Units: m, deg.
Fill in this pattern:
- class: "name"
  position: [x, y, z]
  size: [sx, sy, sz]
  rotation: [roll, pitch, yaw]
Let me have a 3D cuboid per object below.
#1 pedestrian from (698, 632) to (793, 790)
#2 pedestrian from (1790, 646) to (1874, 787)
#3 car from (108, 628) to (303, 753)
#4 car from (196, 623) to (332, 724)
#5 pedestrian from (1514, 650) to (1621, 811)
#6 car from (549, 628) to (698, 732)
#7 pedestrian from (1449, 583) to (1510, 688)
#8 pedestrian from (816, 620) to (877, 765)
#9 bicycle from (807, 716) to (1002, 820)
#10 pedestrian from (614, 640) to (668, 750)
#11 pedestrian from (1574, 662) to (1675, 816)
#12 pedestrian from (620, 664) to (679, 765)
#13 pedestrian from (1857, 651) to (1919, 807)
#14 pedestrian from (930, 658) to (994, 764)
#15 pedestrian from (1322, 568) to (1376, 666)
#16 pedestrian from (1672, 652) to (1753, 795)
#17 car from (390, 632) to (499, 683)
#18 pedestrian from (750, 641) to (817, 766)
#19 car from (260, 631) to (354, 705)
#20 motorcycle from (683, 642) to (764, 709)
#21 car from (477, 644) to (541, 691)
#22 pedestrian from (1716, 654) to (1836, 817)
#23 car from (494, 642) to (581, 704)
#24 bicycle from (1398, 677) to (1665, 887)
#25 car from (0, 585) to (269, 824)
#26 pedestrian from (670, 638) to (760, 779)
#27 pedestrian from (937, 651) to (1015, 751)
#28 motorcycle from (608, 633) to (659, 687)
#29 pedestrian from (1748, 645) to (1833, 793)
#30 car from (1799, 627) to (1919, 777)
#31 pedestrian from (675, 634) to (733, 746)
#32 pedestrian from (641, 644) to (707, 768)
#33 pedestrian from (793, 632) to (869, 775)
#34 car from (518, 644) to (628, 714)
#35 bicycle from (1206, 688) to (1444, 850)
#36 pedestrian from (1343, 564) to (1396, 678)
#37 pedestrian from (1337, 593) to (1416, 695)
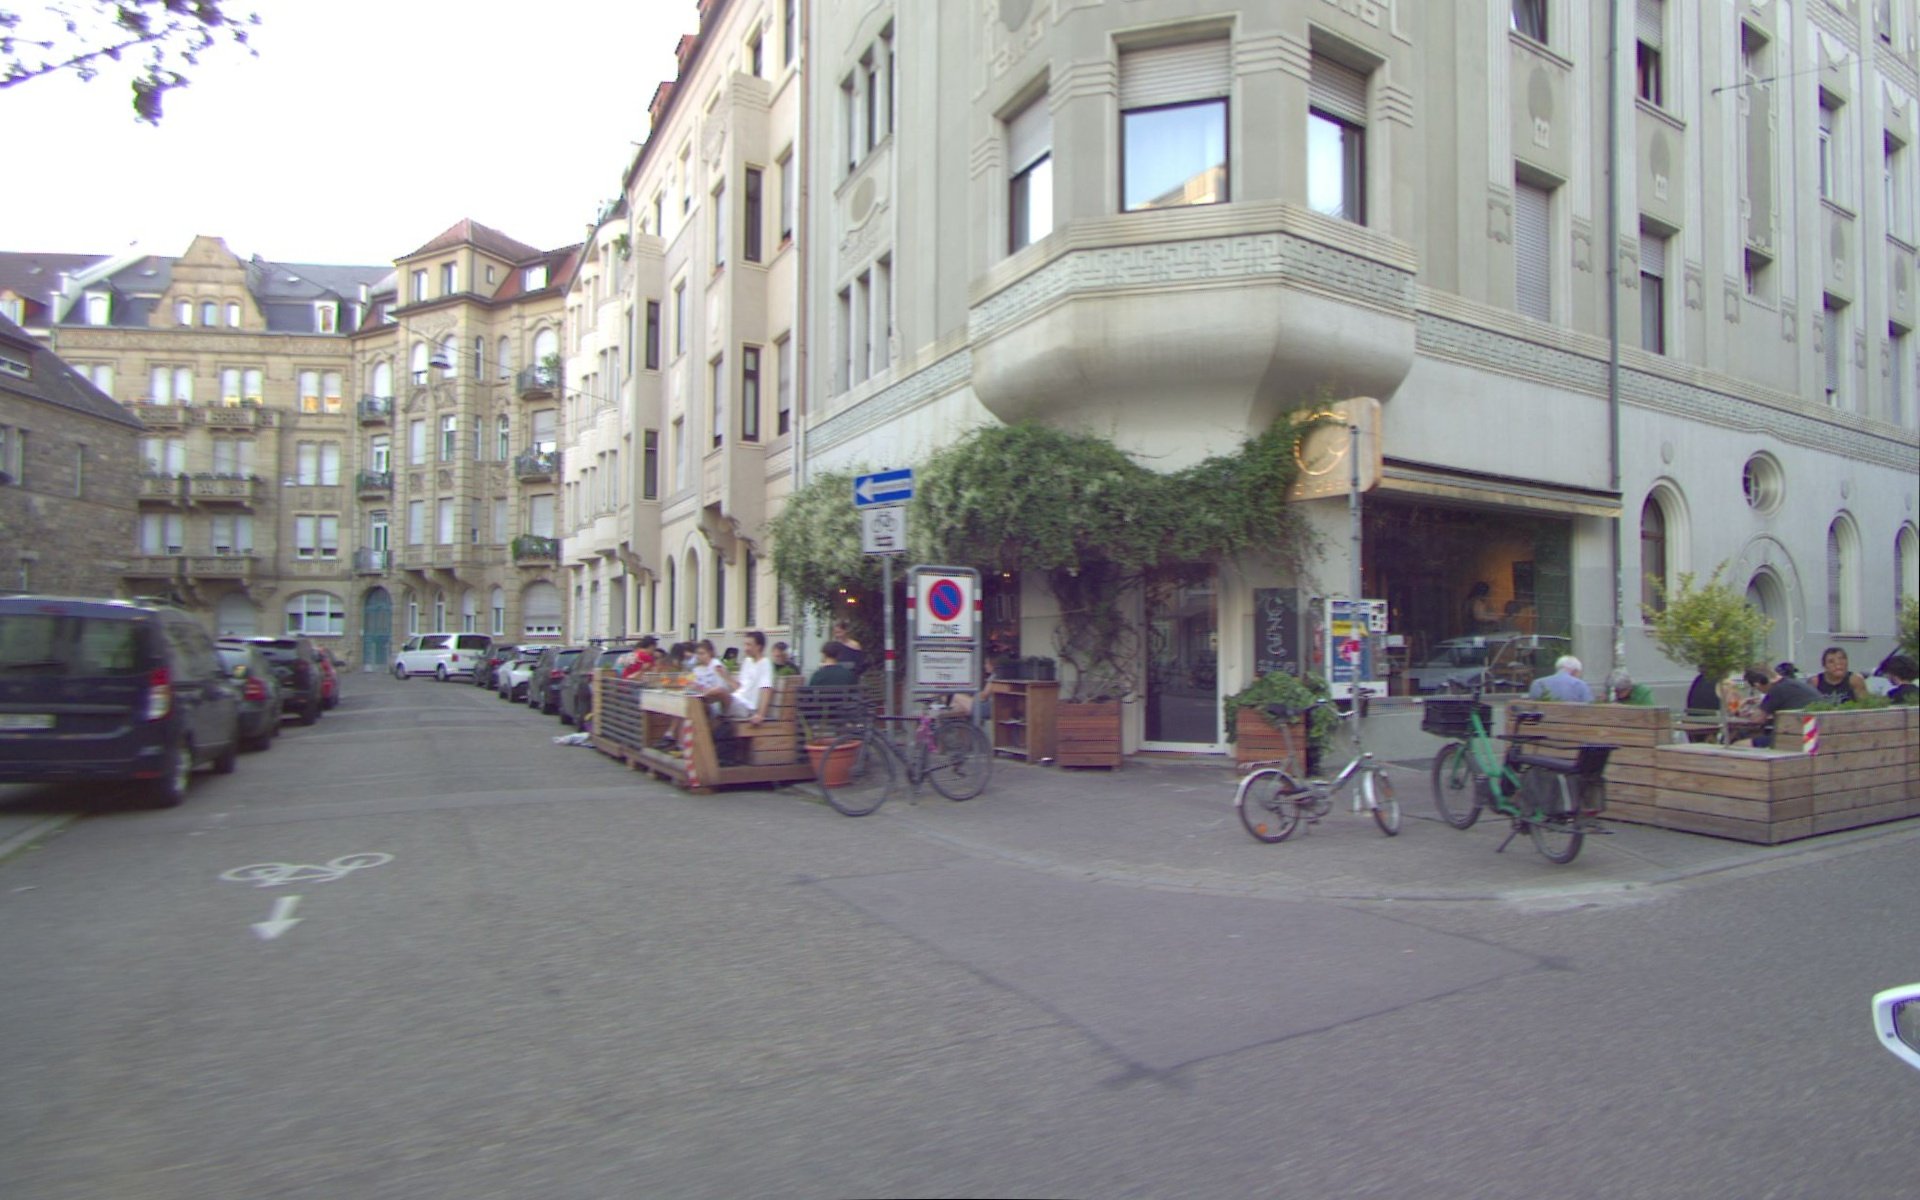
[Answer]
- class: "pedestrian"
  position: [-2.235, 1.122, 10.470]
  size: [0.775, 1.560, 0.698]
  rotation: [2, -3, -31]
- class: "pedestrian"
  position: [8.884, 1.163, 10.236]
  size: [0.534, 1.368, 0.514]
  rotation: [2, -2, -33]
- class: "car"
  position: [-10.667, 1.186, 14.496]
  size: [1.701, 1.519, 4.180]
  rotation: [2, -3, -30]
- class: "car"
  position: [-12.975, 1.305, 18.942]
  size: [1.701, 1.674, 4.180]
  rotation: [2, -3, -30]
- class: "pedestrian"
  position: [5.353, 1.119, 8.855]
  size: [0.696, 1.342, 0.535]
  rotation: [2, -2, -29]
- class: "car"
  position: [-6.163, 1.392, 18.110]
  size: [1.720, 1.638, 4.119]
  rotation: [5, -4, -29]
- class: "pedestrian"
  position: [6.958, 0.481, 13.452]
  size: [0.512, 1.368, 0.536]
  rotation: [2, -2, -29]
- class: "pedestrian"
  position: [-1.338, 1.067, 11.803]
  size: [0.540, 1.642, 0.538]
  rotation: [1, -3, -30]
- class: "bicycle"
  position: [-0.466, 1.462, 8.941]
  size: [1.760, 0.705, 0.421]
  rotation: [0, -1, -33]
- class: "pedestrian"
  position: [-4.384, 1.284, 13.790]
  size: [0.567, 1.466, 0.639]
  rotation: [2, -3, -31]
- class: "pedestrian"
  position: [6.159, 1.259, 9.318]
  size: [0.696, 1.342, 0.535]
  rotation: [2, -2, -29]
- class: "pedestrian"
  position: [-3.932, 1.424, 12.701]
  size: [0.567, 1.223, 0.639]
  rotation: [2, -3, -31]
- class: "pedestrian"
  position: [8.670, 1.158, 9.215]
  size: [0.661, 1.368, 0.481]
  rotation: [2, -2, -31]
- class: "pedestrian"
  position: [0.024, 1.325, 12.179]
  size: [0.599, 1.230, 0.528]
  rotation: [2, -2, -29]
- class: "pedestrian"
  position: [5.708, 0.255, 14.757]
  size: [0.512, 1.401, 0.536]
  rotation: [2, -2, -30]
- class: "pedestrian"
  position: [7.564, 1.215, 10.101]
  size: [0.604, 1.368, 0.466]
  rotation: [2, -2, -31]
- class: "car"
  position: [-21.033, 2.309, 40.874]
  size: [5.085, 1.884, 1.803]
  rotation: [0, -4, 37]
- class: "pedestrian"
  position: [-2.142, 1.227, 12.163]
  size: [0.637, 1.462, 0.569]
  rotation: [1, -3, -29]
- class: "car"
  position: [-15.429, 1.554, 23.892]
  size: [1.614, 1.592, 4.006]
  rotation: [2, -3, -30]
- class: "motorcycle"
  position: [-5.148, 1.574, 21.654]
  size: [0.808, 1.297, 3.385]
  rotation: [2, -3, -29]
- class: "car"
  position: [-16.540, 2.439, 36.733]
  size: [1.719, 1.567, 3.764]
  rotation: [4, -4, -29]
- class: "pedestrian"
  position: [7.217, 1.159, 8.884]
  size: [0.762, 1.342, 0.606]
  rotation: [2, -2, -31]
- class: "car"
  position: [-11.842, 1.996, 28.031]
  size: [1.719, 1.567, 4.119]
  rotation: [4, -4, -29]
- class: "bicycle"
  position: [3.836, 1.151, 6.982]
  size: [0.491, 1.109, 2.115]
  rotation: [0, -1, -5]
- class: "car"
  position: [-8.234, 0.896, 9.769]
  size: [1.866, 1.868, 3.974]
  rotation: [1, -3, -26]
- class: "pedestrian"
  position: [-2.706, 1.166, 11.087]
  size: [0.775, 1.488, 0.698]
  rotation: [2, -3, -31]
- class: "pedestrian"
  position: [0.198, 1.280, 12.994]
  size: [0.769, 1.230, 0.688]
  rotation: [2, -2, -29]
- class: "motorcycle"
  position: [-9.686, 1.745, 29.720]
  size: [0.808, 1.514, 3.385]
  rotation: [2, -2, -29]
- class: "pedestrian"
  position: [8.024, 1.126, 9.709]
  size: [0.604, 1.368, 0.466]
  rotation: [2, -2, -31]
- class: "car"
  position: [12.169, 1.164, 12.014]
  size: [4.264, 1.612, 1.984]
  rotation: [2, -3, -31]
- class: "pedestrian"
  position: [-3.607, 1.252, 14.163]
  size: [0.637, 1.520, 0.569]
  rotation: [2, -3, -31]
- class: "pedestrian"
  position: [-3.445, 1.250, 12.080]
  size: [0.637, 1.430, 0.569]
  rotation: [1, -3, -30]
- class: "pedestrian"
  position: [-1.409, 1.104, 10.934]
  size: [0.637, 1.488, 0.569]
  rotation: [2, -3, -32]
- class: "car"
  position: [-8.976, 1.769, 23.120]
  size: [1.719, 1.448, 4.119]
  rotation: [4, -4, -29]
- class: "bicycle"
  position: [2.641, 1.183, 7.254]
  size: [1.690, 1.026, 0.423]
  rotation: [0, -1, -17]
- class: "pedestrian"
  position: [6.162, 0.326, 15.123]
  size: [0.512, 1.676, 0.536]
  rotation: [2, -2, -30]
- class: "pedestrian"
  position: [4.984, 0.522, 12.020]
  size: [0.739, 1.169, 0.554]
  rotation: [2, -2, -31]
